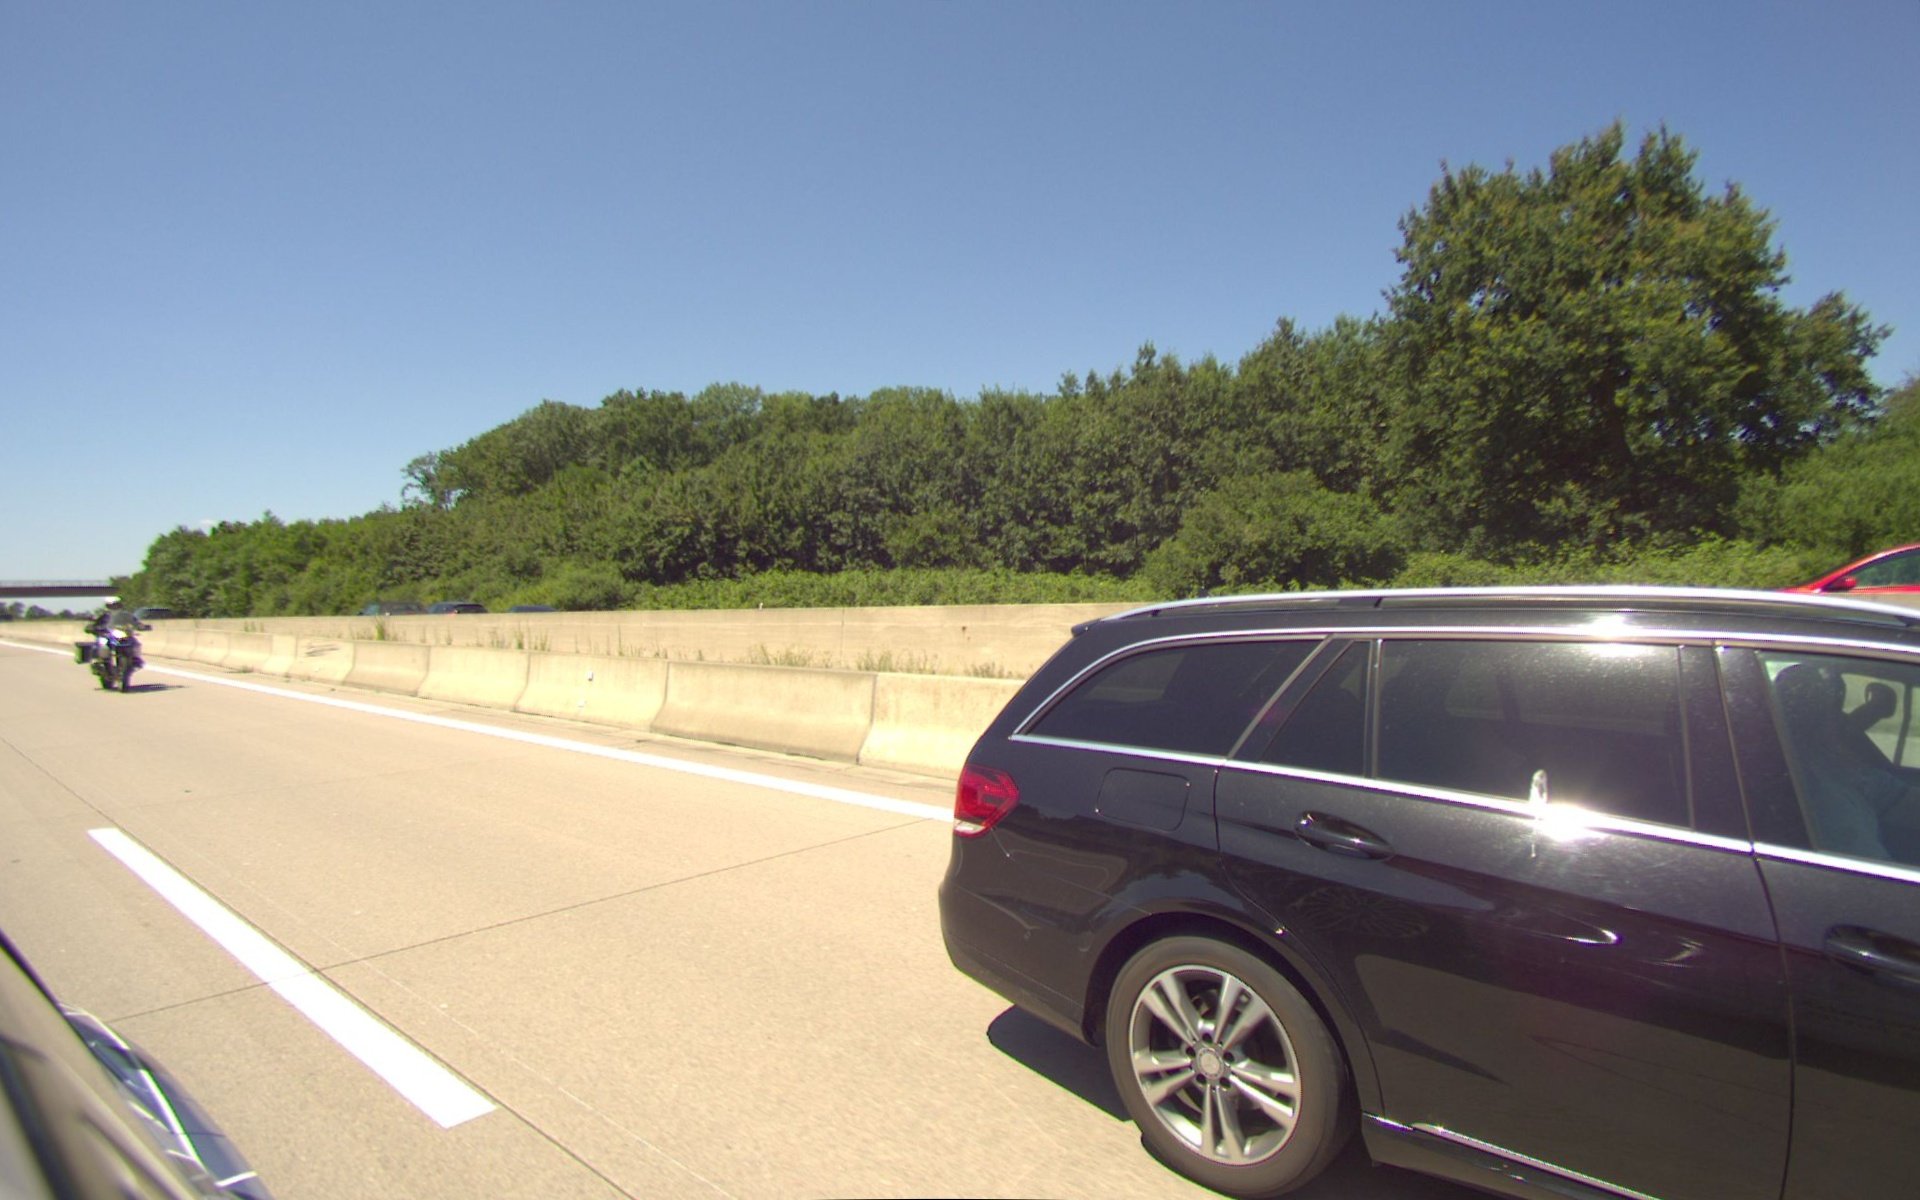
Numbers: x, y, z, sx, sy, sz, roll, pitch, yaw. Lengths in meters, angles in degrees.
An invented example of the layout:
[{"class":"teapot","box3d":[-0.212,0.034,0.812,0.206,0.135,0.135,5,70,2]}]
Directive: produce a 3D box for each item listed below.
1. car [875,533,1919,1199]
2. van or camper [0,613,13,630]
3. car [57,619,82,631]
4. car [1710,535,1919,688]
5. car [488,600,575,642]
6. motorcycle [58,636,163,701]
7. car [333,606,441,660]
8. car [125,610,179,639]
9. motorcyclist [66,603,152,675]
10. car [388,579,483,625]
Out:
[{"class":"car","box3d":[2.462,0.593,2.025,5.601,1.484,1.871,-2,0,42]},{"class":"van or camper","box3d":[-107.049,2.436,112.685,4.414,1.896,1.828,-1,1,41]},{"class":"car","box3d":[-110.459,3.080,125.537,3.999,1.386,1.907,-2,0,42]},{"class":"car","box3d":[11.303,0.111,11.612,4.215,1.683,1.781,-1,0,41]},{"class":"car","box3d":[-18.193,0.852,42.903,4.087,1.670,1.686,-1,1,40]},{"class":"motorcycle","box3d":[-15.448,1.216,18.381,2.410,1.056,1.011,-2,0,39]},{"class":"car","box3d":[-19.241,1.066,33.911,4.403,1.670,1.686,-1,1,40]},{"class":"car","box3d":[-47.944,1.438,60.031,4.157,1.670,1.686,-1,0,40]},{"class":"motorcyclist","box3d":[-15.434,0.701,18.353,0.910,1.218,1.015,-2,0,39]},{"class":"car","box3d":[-20.301,0.118,39.103,4.403,1.670,1.686,-2,-1,40]}]
